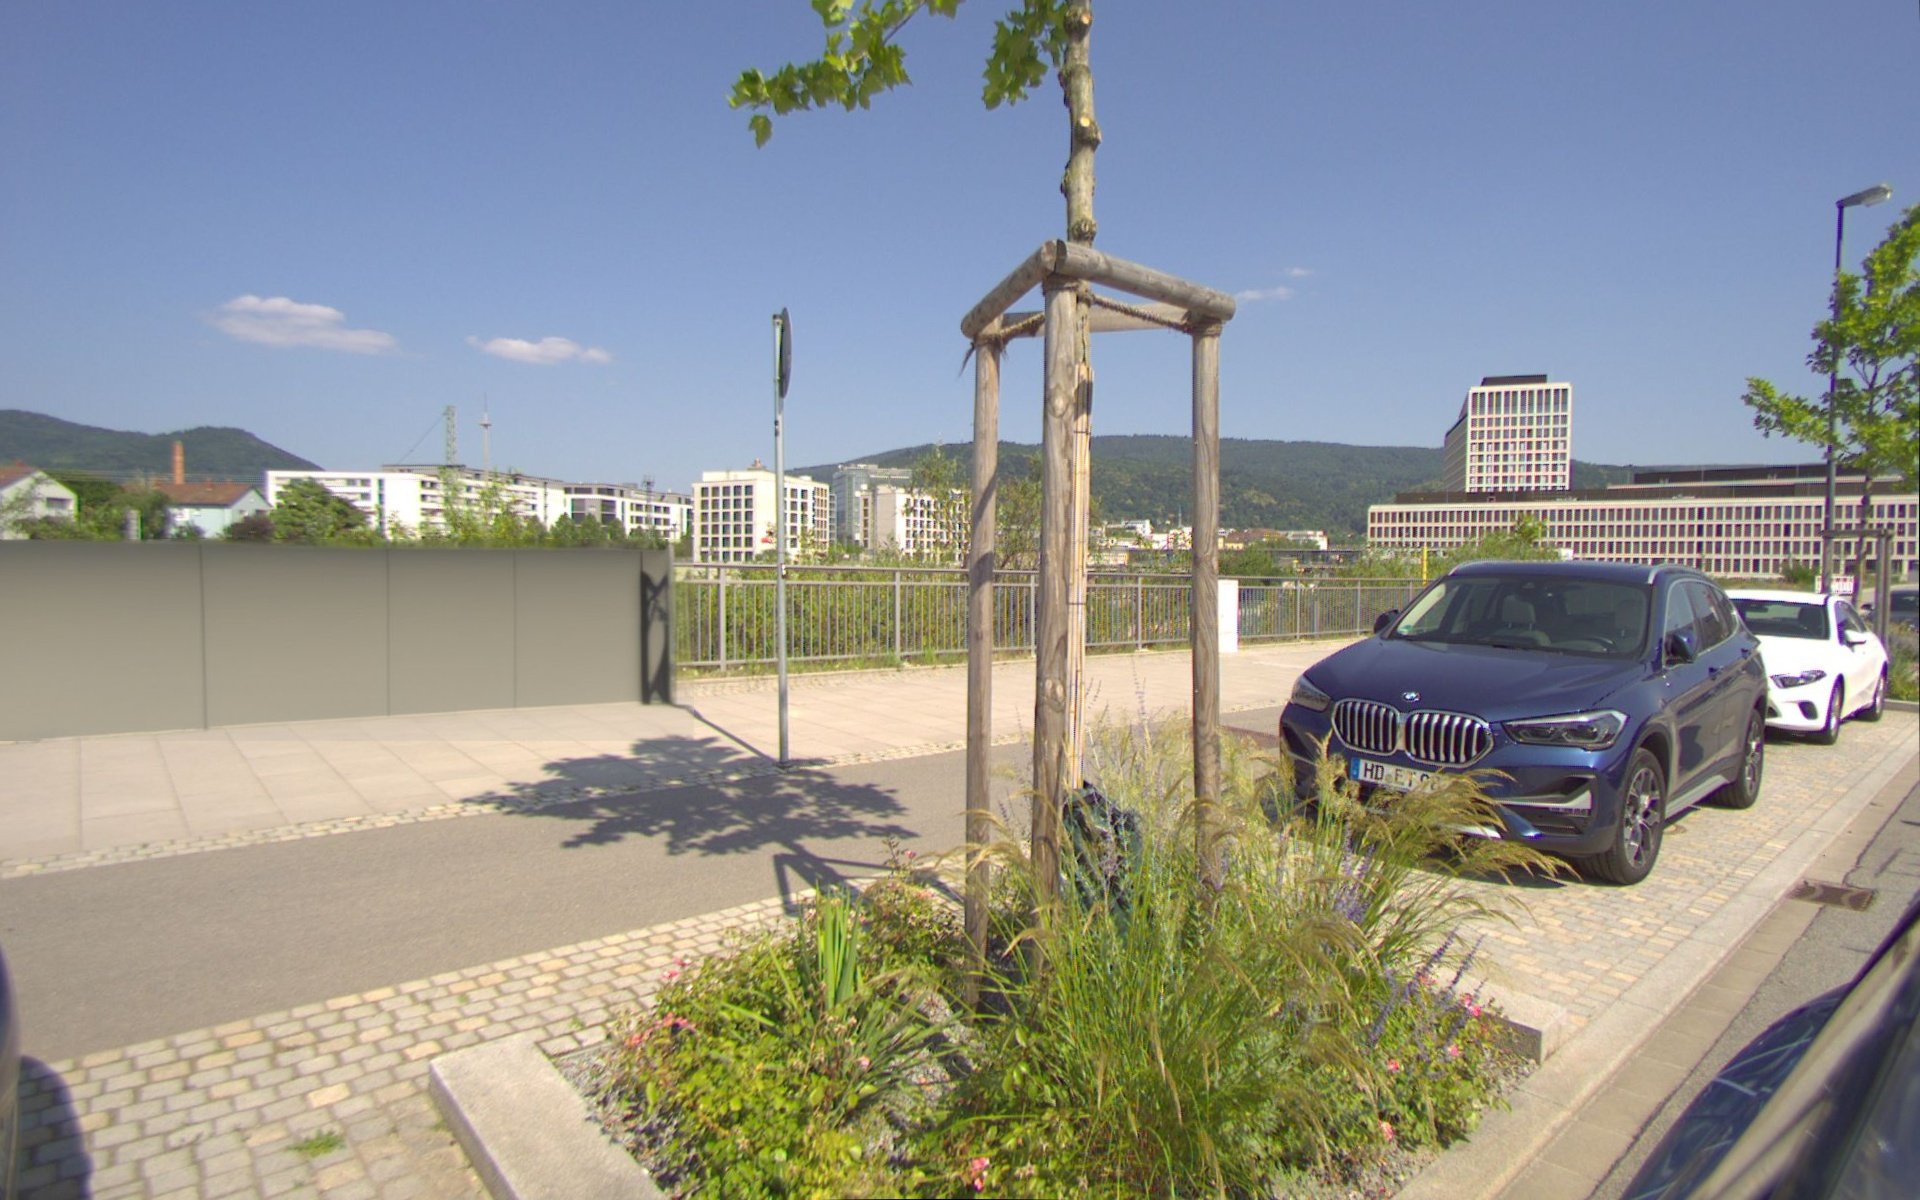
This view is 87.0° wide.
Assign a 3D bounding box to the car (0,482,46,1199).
[{"bbox_3d":[-2.847,0.606,0.516,3.485,1.574,1.585,0,4,-42],"label":"car"}]

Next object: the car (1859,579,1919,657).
[{"bbox_3d":[20.209,0.345,20.994,3.849,1.449,1.808,-1,5,-41],"label":"car"}]

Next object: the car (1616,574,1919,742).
[{"bbox_3d":[8.896,0.468,10.993,4.194,1.390,1.711,-1,5,-39],"label":"car"}]

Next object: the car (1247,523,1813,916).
[{"bbox_3d":[3.812,0.430,6.435,4.197,1.703,1.807,-1,4,-41],"label":"car"}]
